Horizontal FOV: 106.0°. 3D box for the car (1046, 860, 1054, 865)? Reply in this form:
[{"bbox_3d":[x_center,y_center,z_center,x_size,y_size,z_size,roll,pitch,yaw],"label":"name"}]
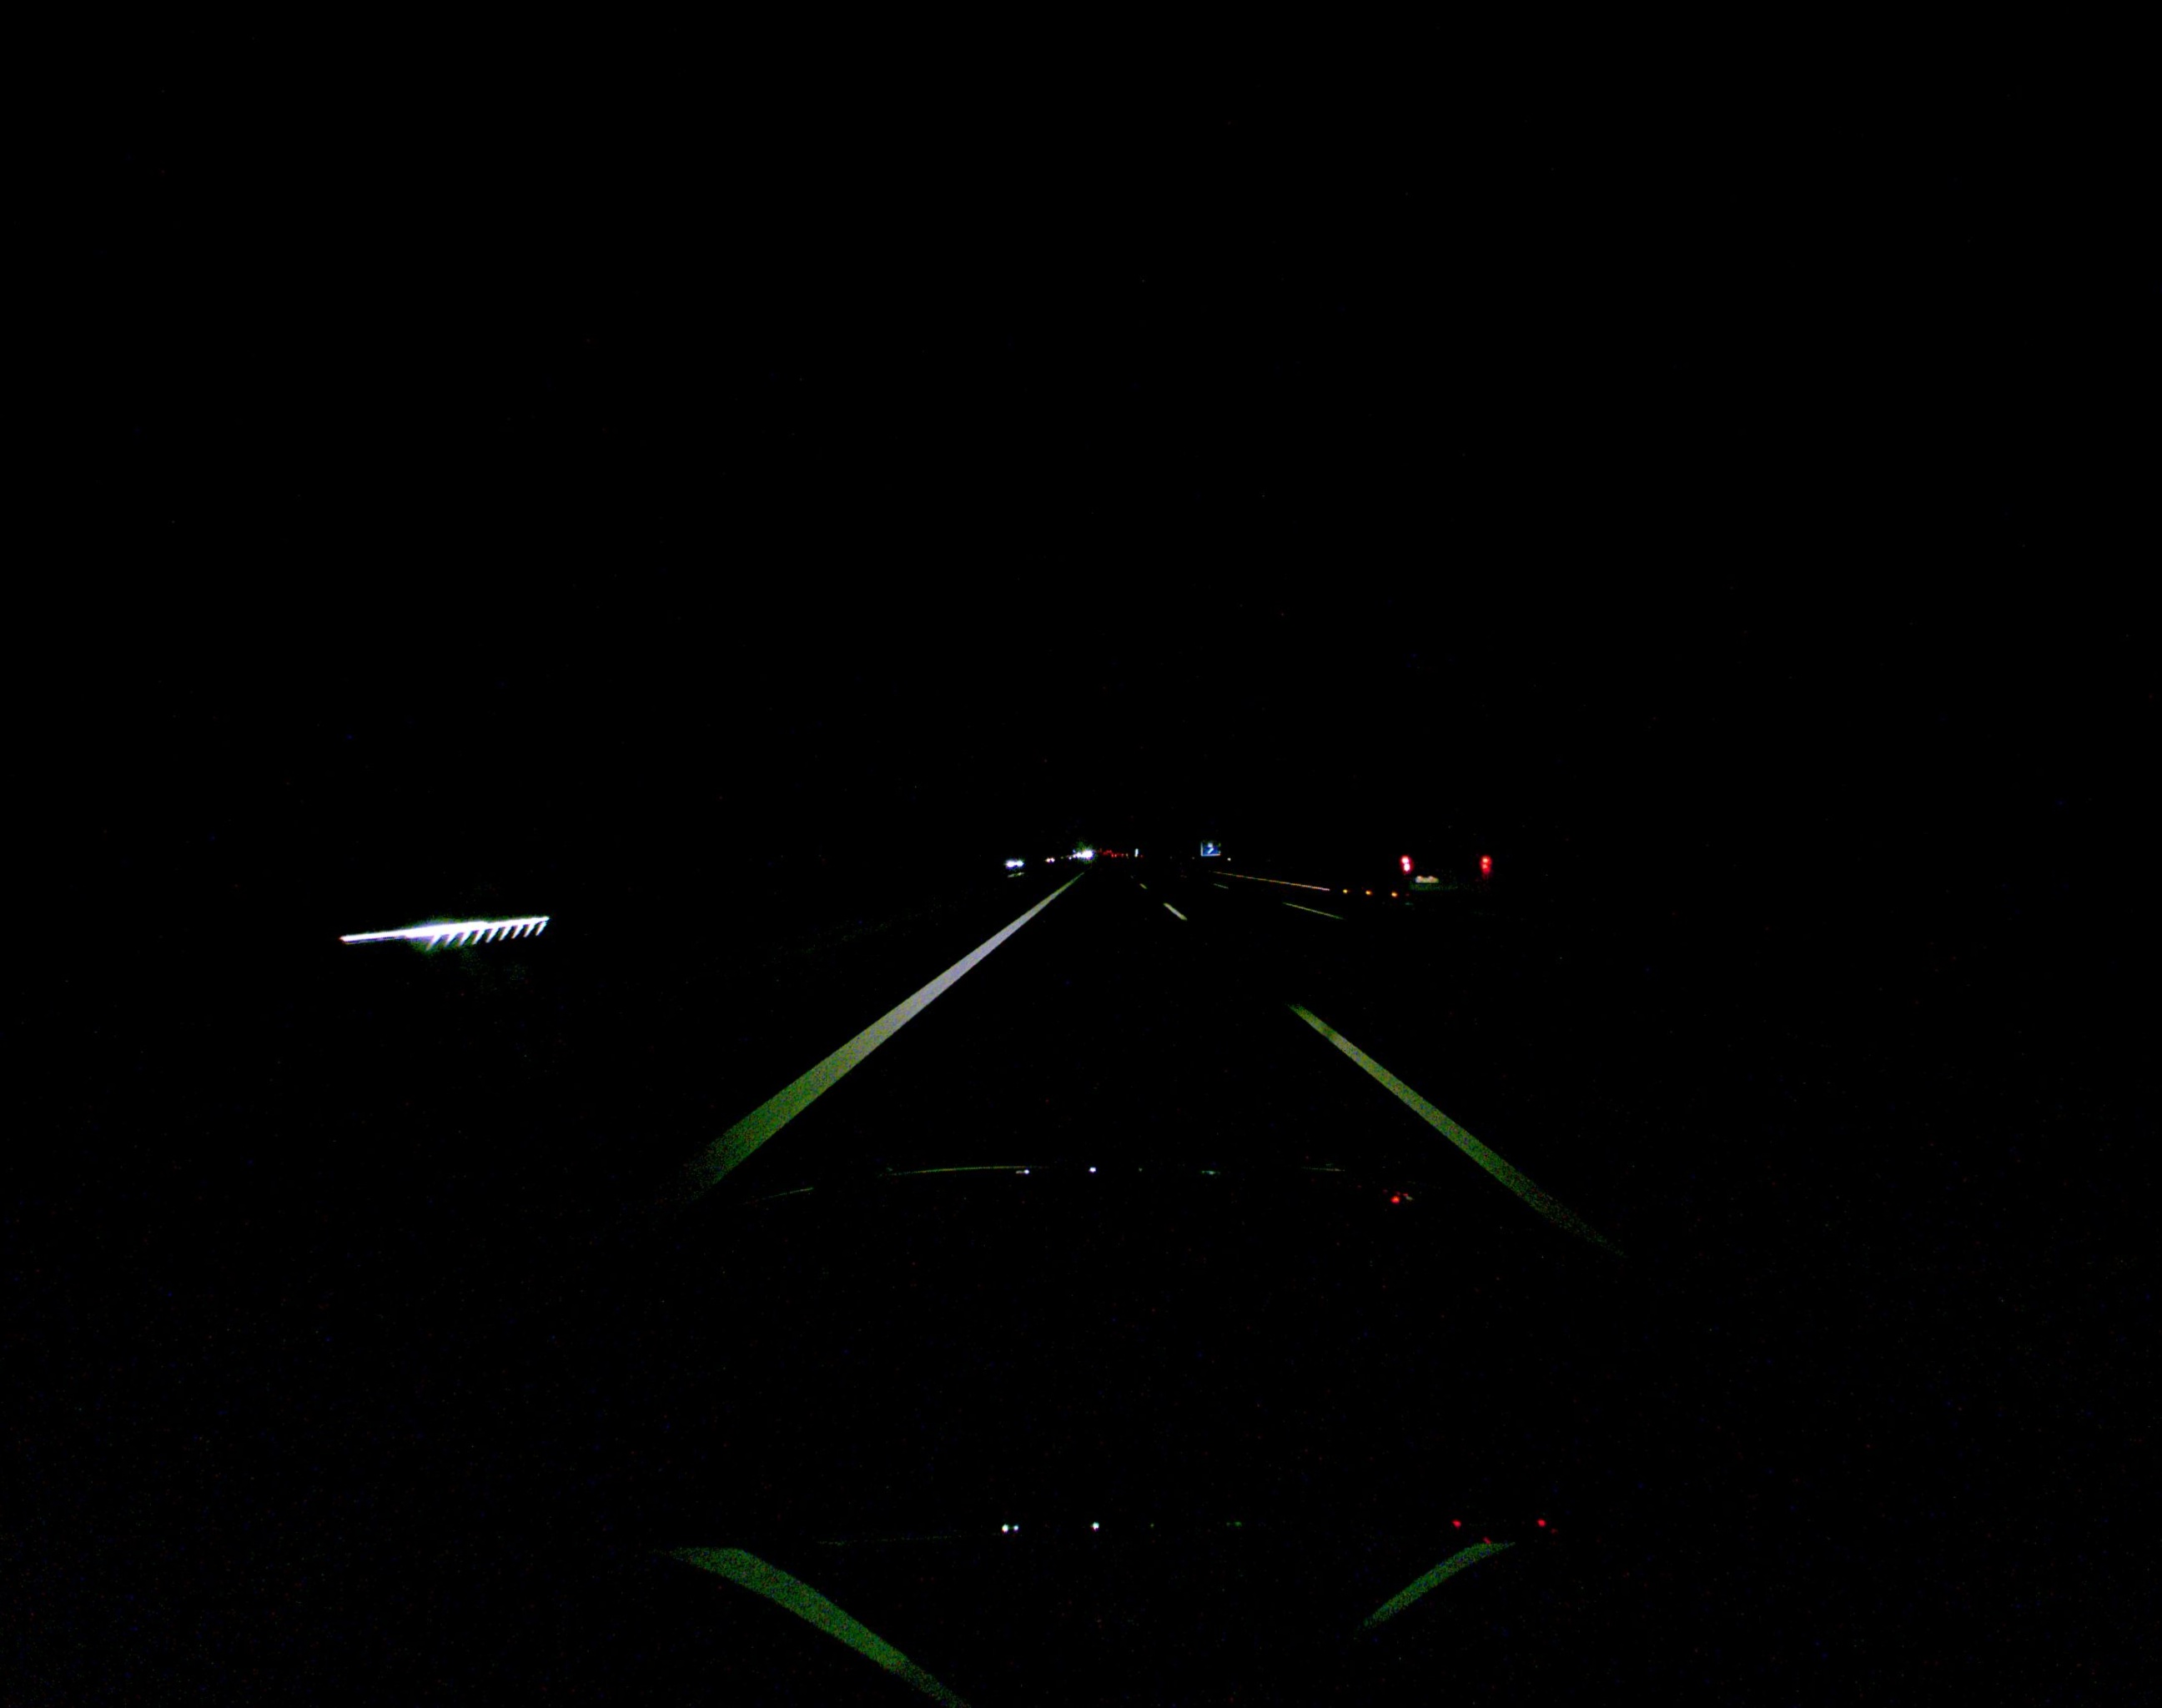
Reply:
[{"bbox_3d":[-9.470,2.591,249.482,1.986,1.551,5.006,-5,0,1],"label":"car"}]

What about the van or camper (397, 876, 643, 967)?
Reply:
[{"bbox_3d":[-12.211,1.369,18.281,1.773,1.441,5.104,-5,0,1],"label":"van or camper"}]

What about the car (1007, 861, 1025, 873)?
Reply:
[{"bbox_3d":[-9.609,1.956,120.016,1.986,1.638,5.076,4,-1,2],"label":"car"}]

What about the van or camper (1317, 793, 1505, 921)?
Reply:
[{"bbox_3d":[8.182,0.048,21.168,2.199,2.771,6.804,0,0,1],"label":"van or camper"}]
